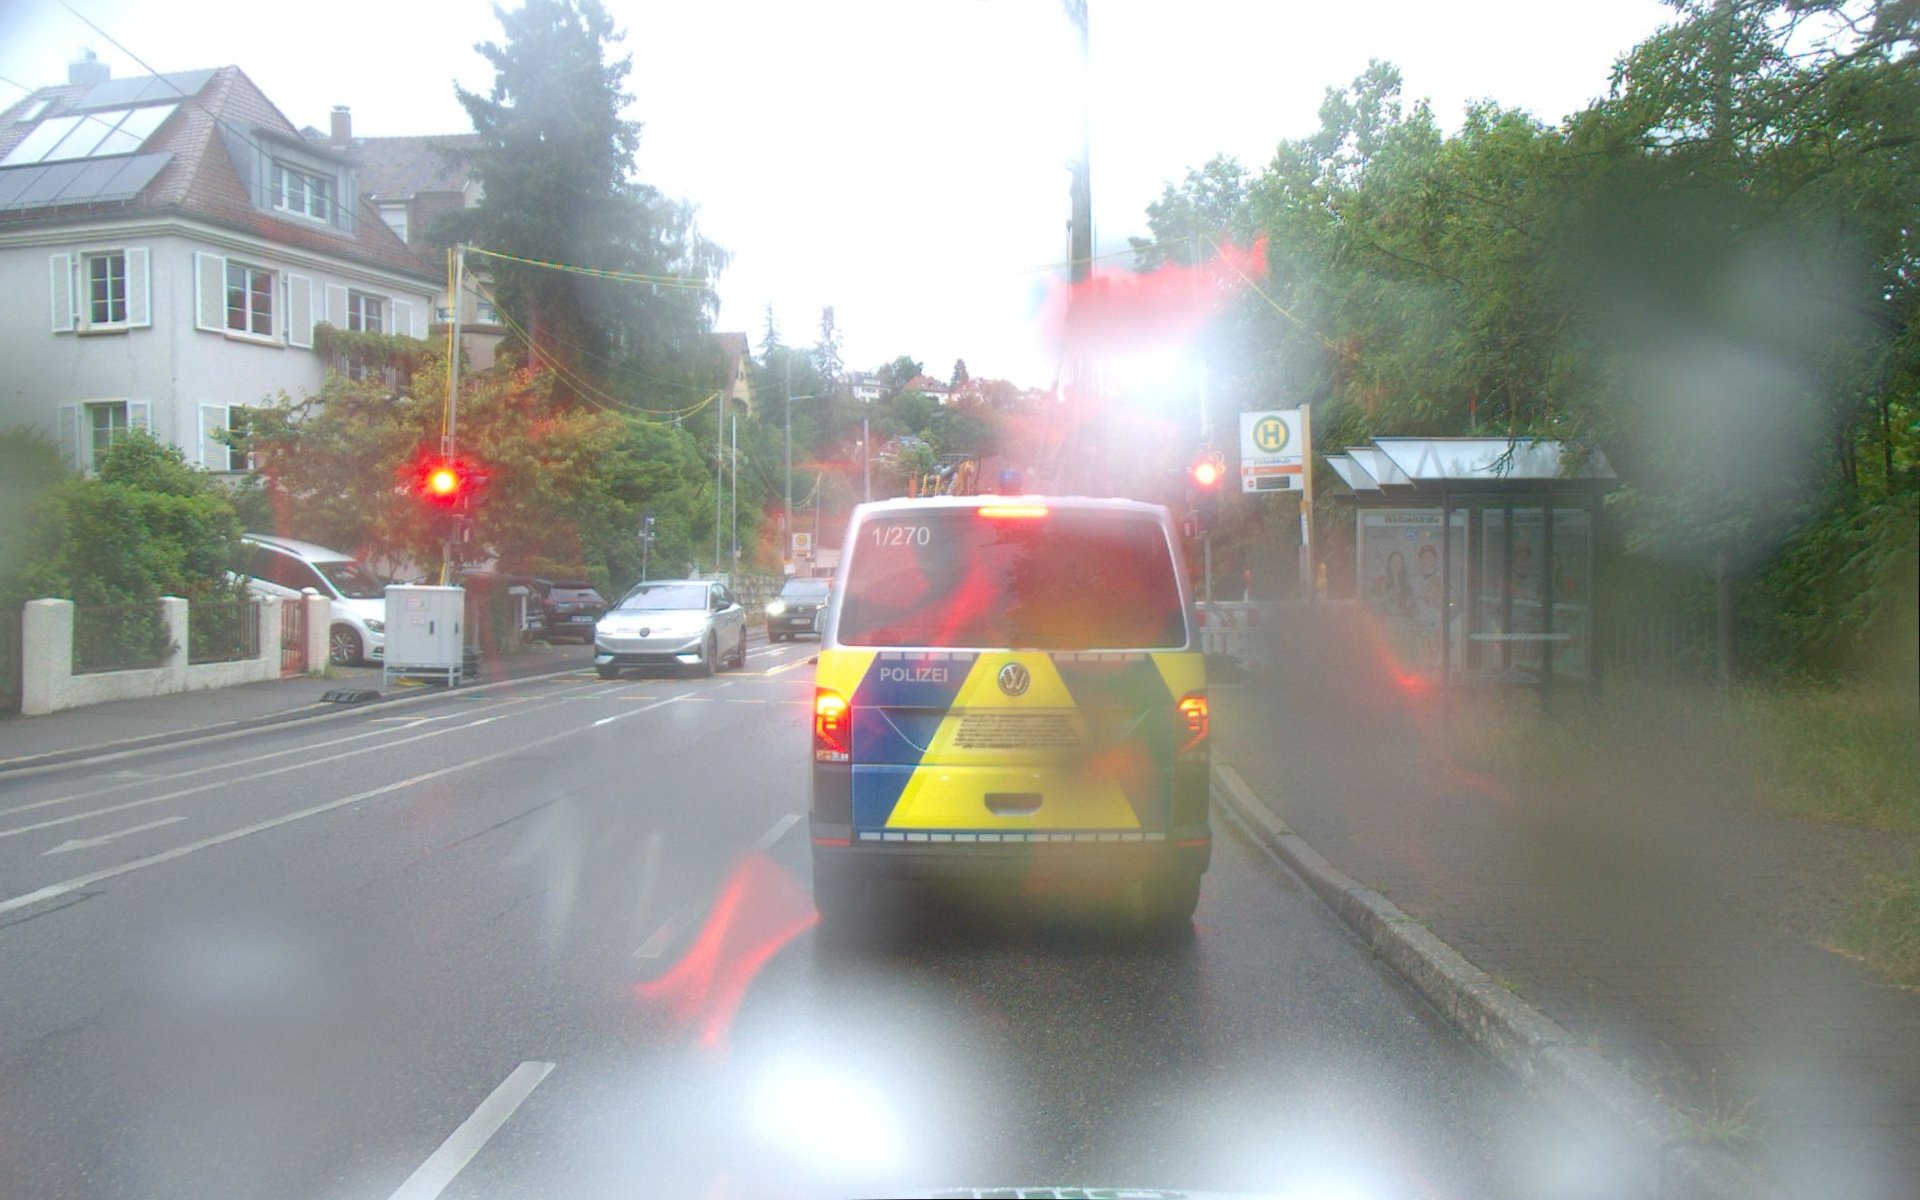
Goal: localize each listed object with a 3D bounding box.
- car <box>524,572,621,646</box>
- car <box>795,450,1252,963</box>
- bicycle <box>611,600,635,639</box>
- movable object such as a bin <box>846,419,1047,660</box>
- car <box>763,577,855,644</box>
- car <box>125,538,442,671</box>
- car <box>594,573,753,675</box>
[{"bbox_3d":[-8.902,0.167,37.835,1.739,1.512,3.721,1,2,-20],"label":"car"},{"bbox_3d":[0.236,0.428,8.828,1.855,2.086,3.999,1,0,-1],"label":"car"},{"bbox_3d":[-8.045,0.457,39.461,0.455,0.913,1.628,0,0,-15],"label":"bicycle"},{"bbox_3d":[-0.157,-1.104,31.645,2.770,4.250,4.384,1,0,14],"label":"movable object such as a bin"},{"bbox_3d":[-3.914,0.270,43.580,1.828,1.650,4.166,1,0,3],"label":"car"},{"bbox_3d":[-11.200,0.049,27.497,4.532,2.042,1.902,1,0,11],"label":"car"},{"bbox_3d":[-4.714,0.377,27.872,1.815,1.554,4.819,-1,0,0],"label":"car"}]
